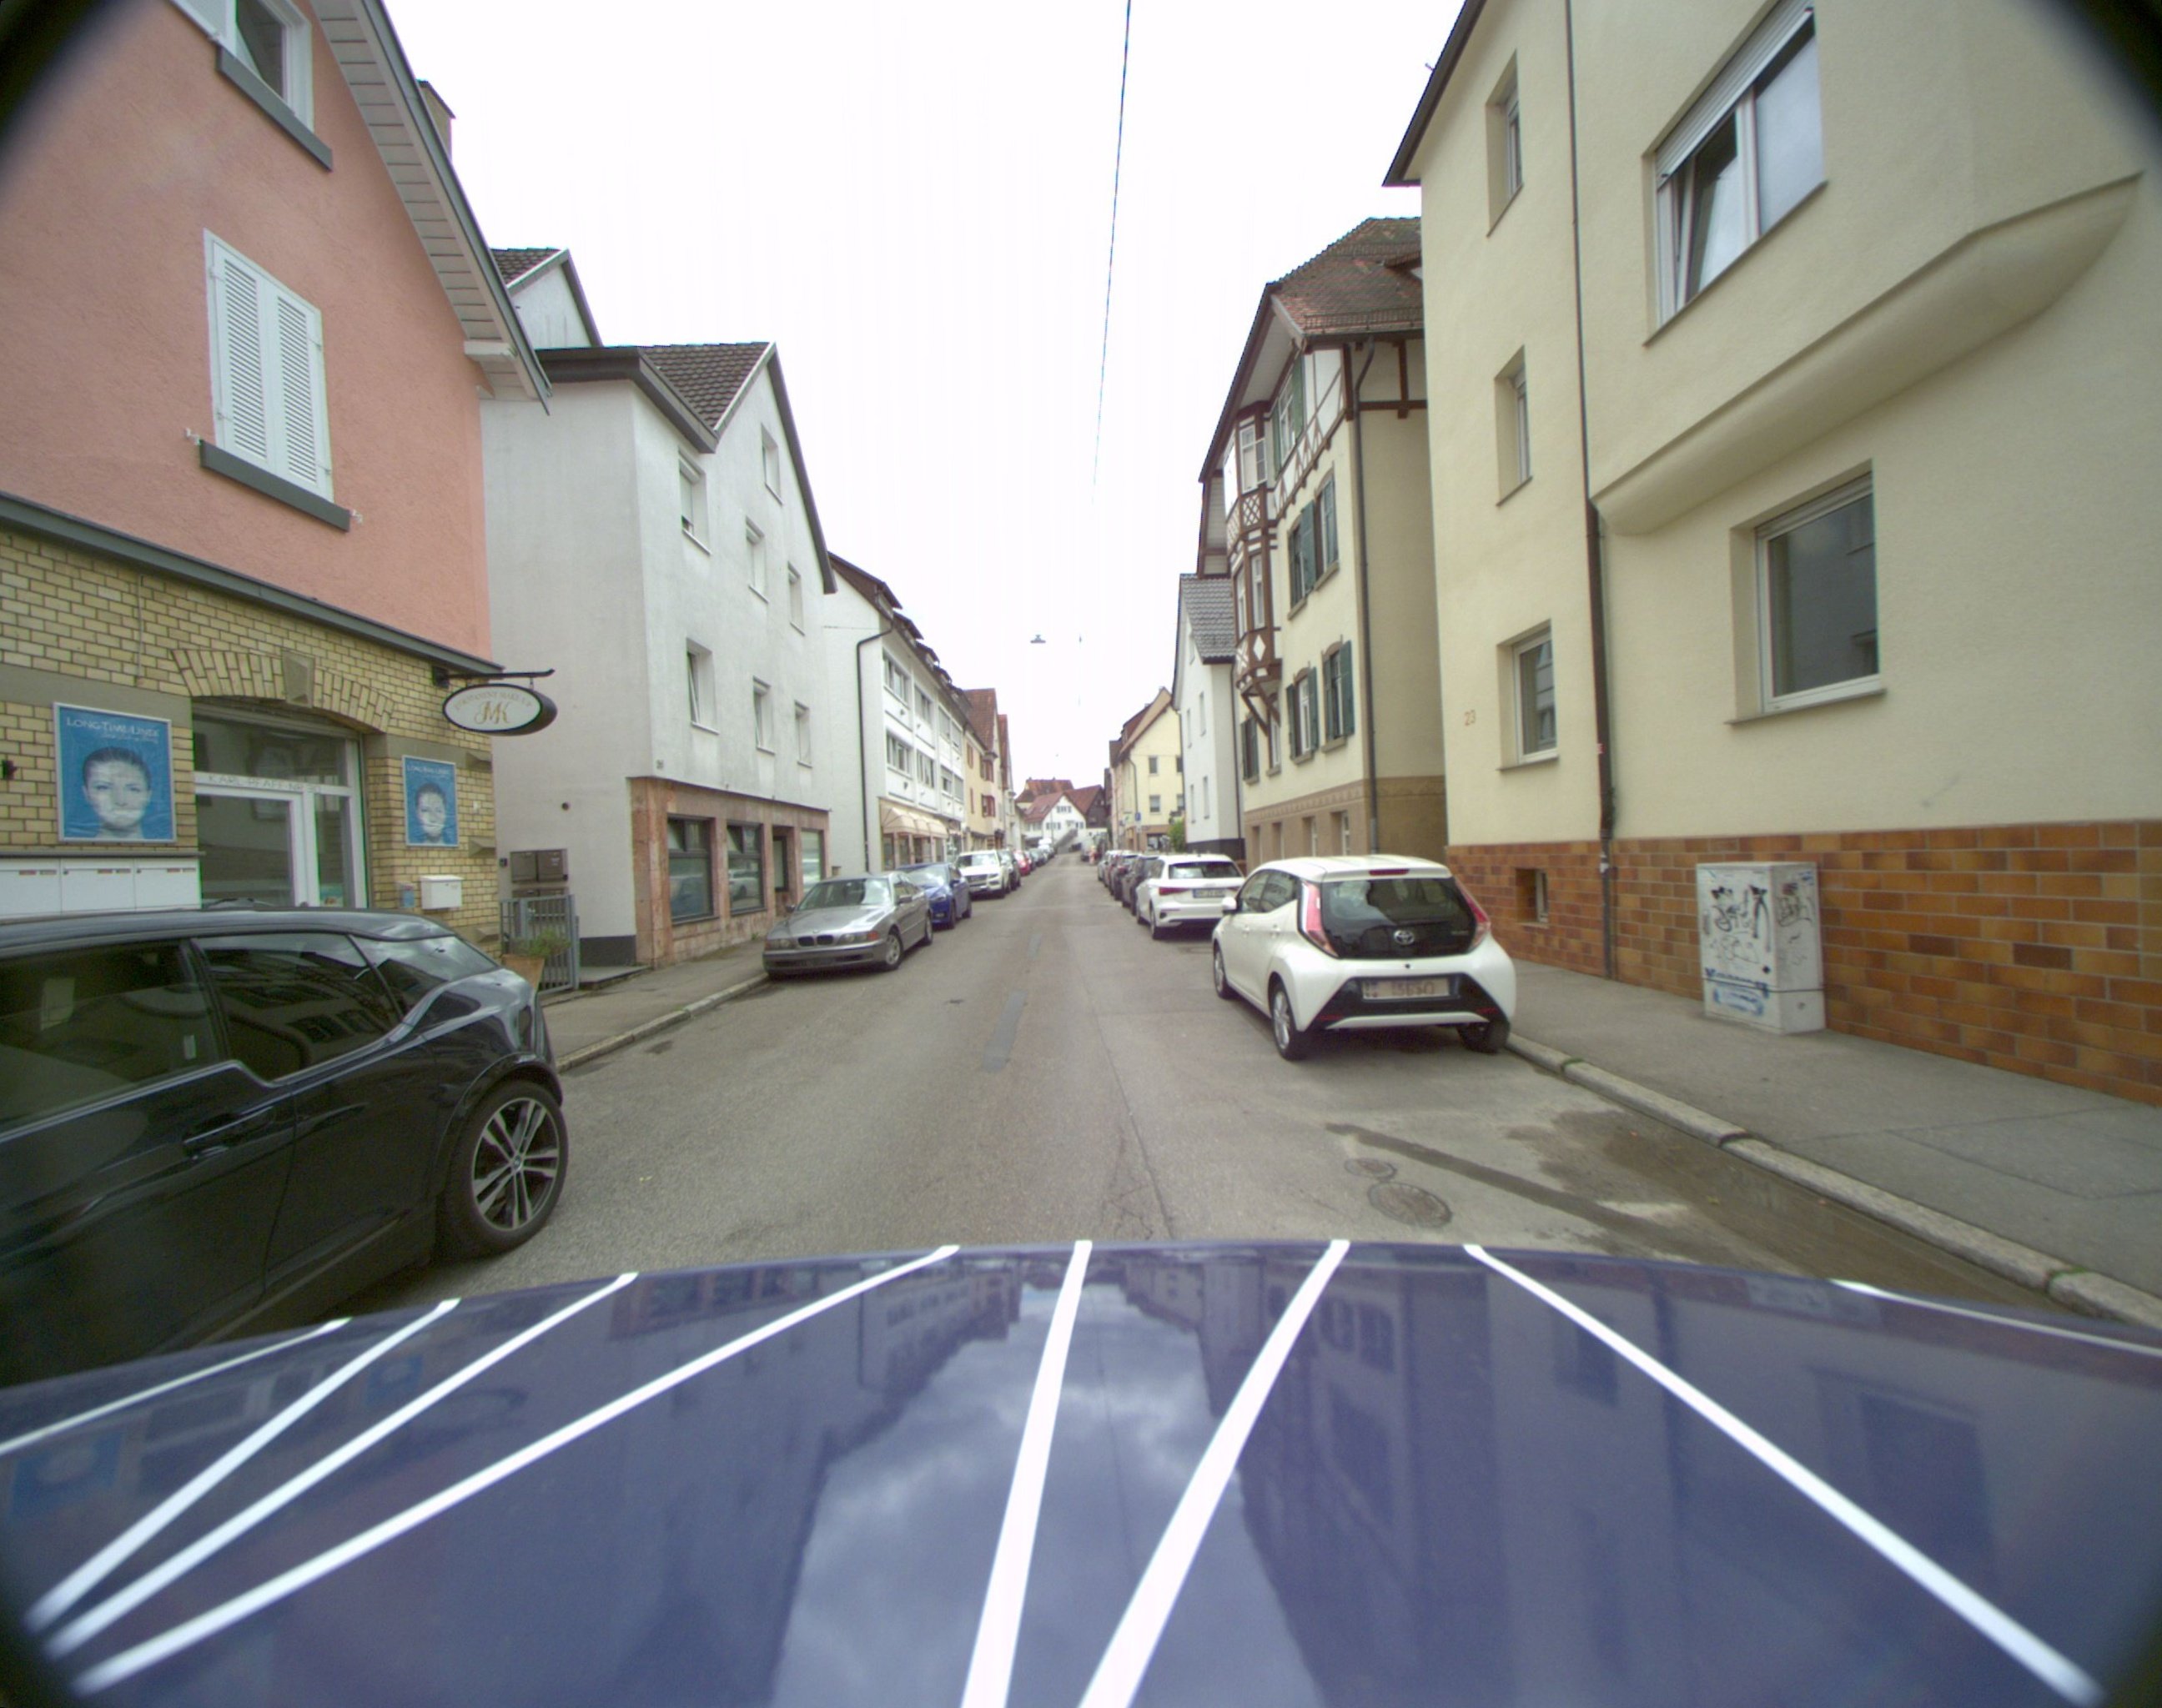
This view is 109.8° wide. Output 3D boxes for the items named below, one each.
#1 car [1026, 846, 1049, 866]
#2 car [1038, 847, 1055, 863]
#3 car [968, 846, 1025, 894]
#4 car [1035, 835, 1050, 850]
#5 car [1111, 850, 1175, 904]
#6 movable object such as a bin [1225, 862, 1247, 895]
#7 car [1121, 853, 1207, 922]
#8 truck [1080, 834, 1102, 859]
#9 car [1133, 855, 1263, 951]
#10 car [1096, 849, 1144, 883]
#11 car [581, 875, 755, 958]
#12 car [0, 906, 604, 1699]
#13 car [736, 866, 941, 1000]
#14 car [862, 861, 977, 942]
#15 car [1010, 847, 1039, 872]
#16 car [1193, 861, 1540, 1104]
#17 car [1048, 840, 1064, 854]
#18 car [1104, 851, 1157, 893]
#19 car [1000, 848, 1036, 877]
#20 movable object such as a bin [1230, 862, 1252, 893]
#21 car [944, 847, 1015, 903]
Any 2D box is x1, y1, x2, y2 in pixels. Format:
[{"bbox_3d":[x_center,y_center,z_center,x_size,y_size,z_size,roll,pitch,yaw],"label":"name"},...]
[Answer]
[{"bbox_3d":[-3.666,0.153,64.380,1.606,1.464,3.987,-6,1,0],"label":"car"},{"bbox_3d":[-3.608,0.049,79.957,1.606,1.464,3.550,-6,1,0],"label":"car"},{"bbox_3d":[-3.547,0.615,32.674,1.900,1.780,4.343,-4,1,0],"label":"car"},{"bbox_3d":[-5.078,-1.505,99.680,1.606,1.716,3.550,-6,1,0],"label":"car"},{"bbox_3d":[1.904,0.670,24.374,1.756,1.501,4.083,0,1,0],"label":"car"},{"bbox_3d":[5.051,0.788,24.769,0.515,1.009,0.604,-4,1,0],"label":"movable object such as a bin"},{"bbox_3d":[1.986,0.754,19.385,1.756,1.448,4.369,0,1,0],"label":"car"},{"bbox_3d":[0.967,-0.773,76.085,1.784,2.378,5.483,-3,1,-1],"label":"truck"},{"bbox_3d":[2.020,0.792,14.328,1.756,1.424,4.368,0,1,-1],"label":"car"},{"bbox_3d":[1.733,0.514,35.212,1.756,1.423,4.347,-1,1,-4],"label":"car"},{"bbox_3d":[-9.456,1.358,17.826,1.647,1.424,4.012,-4,1,3],"label":"car"},{"bbox_3d":[-3.288,1.110,1.802,1.823,1.534,4.026,-5,1,-3],"label":"car"},{"bbox_3d":[-3.581,1.070,12.212,1.791,1.409,4.576,-6,1,-1],"label":"car"},{"bbox_3d":[-3.602,1.008,17.660,1.756,1.424,3.927,-4,1,0],"label":"car"},{"bbox_3d":[-4.028,0.342,54.677,1.606,1.519,3.987,-6,1,0],"label":"car"},{"bbox_3d":[2.168,0.864,6.906,1.671,1.426,3.815,-2,1,0],"label":"car"},{"bbox_3d":[-2.862,-0.796,87.511,1.606,1.464,3.550,-6,1,0],"label":"car"},{"bbox_3d":[1.854,0.639,29.526,1.756,1.441,4.065,0,1,-1],"label":"car"},{"bbox_3d":[-3.846,0.475,46.980,1.674,1.519,3.987,-6,1,1],"label":"car"},{"bbox_3d":[5.052,0.738,24.073,0.515,0.926,0.604,-4,1,0],"label":"movable object such as a bin"},{"bbox_3d":[-3.540,0.674,27.290,1.900,1.696,4.492,-4,1,0],"label":"car"}]
